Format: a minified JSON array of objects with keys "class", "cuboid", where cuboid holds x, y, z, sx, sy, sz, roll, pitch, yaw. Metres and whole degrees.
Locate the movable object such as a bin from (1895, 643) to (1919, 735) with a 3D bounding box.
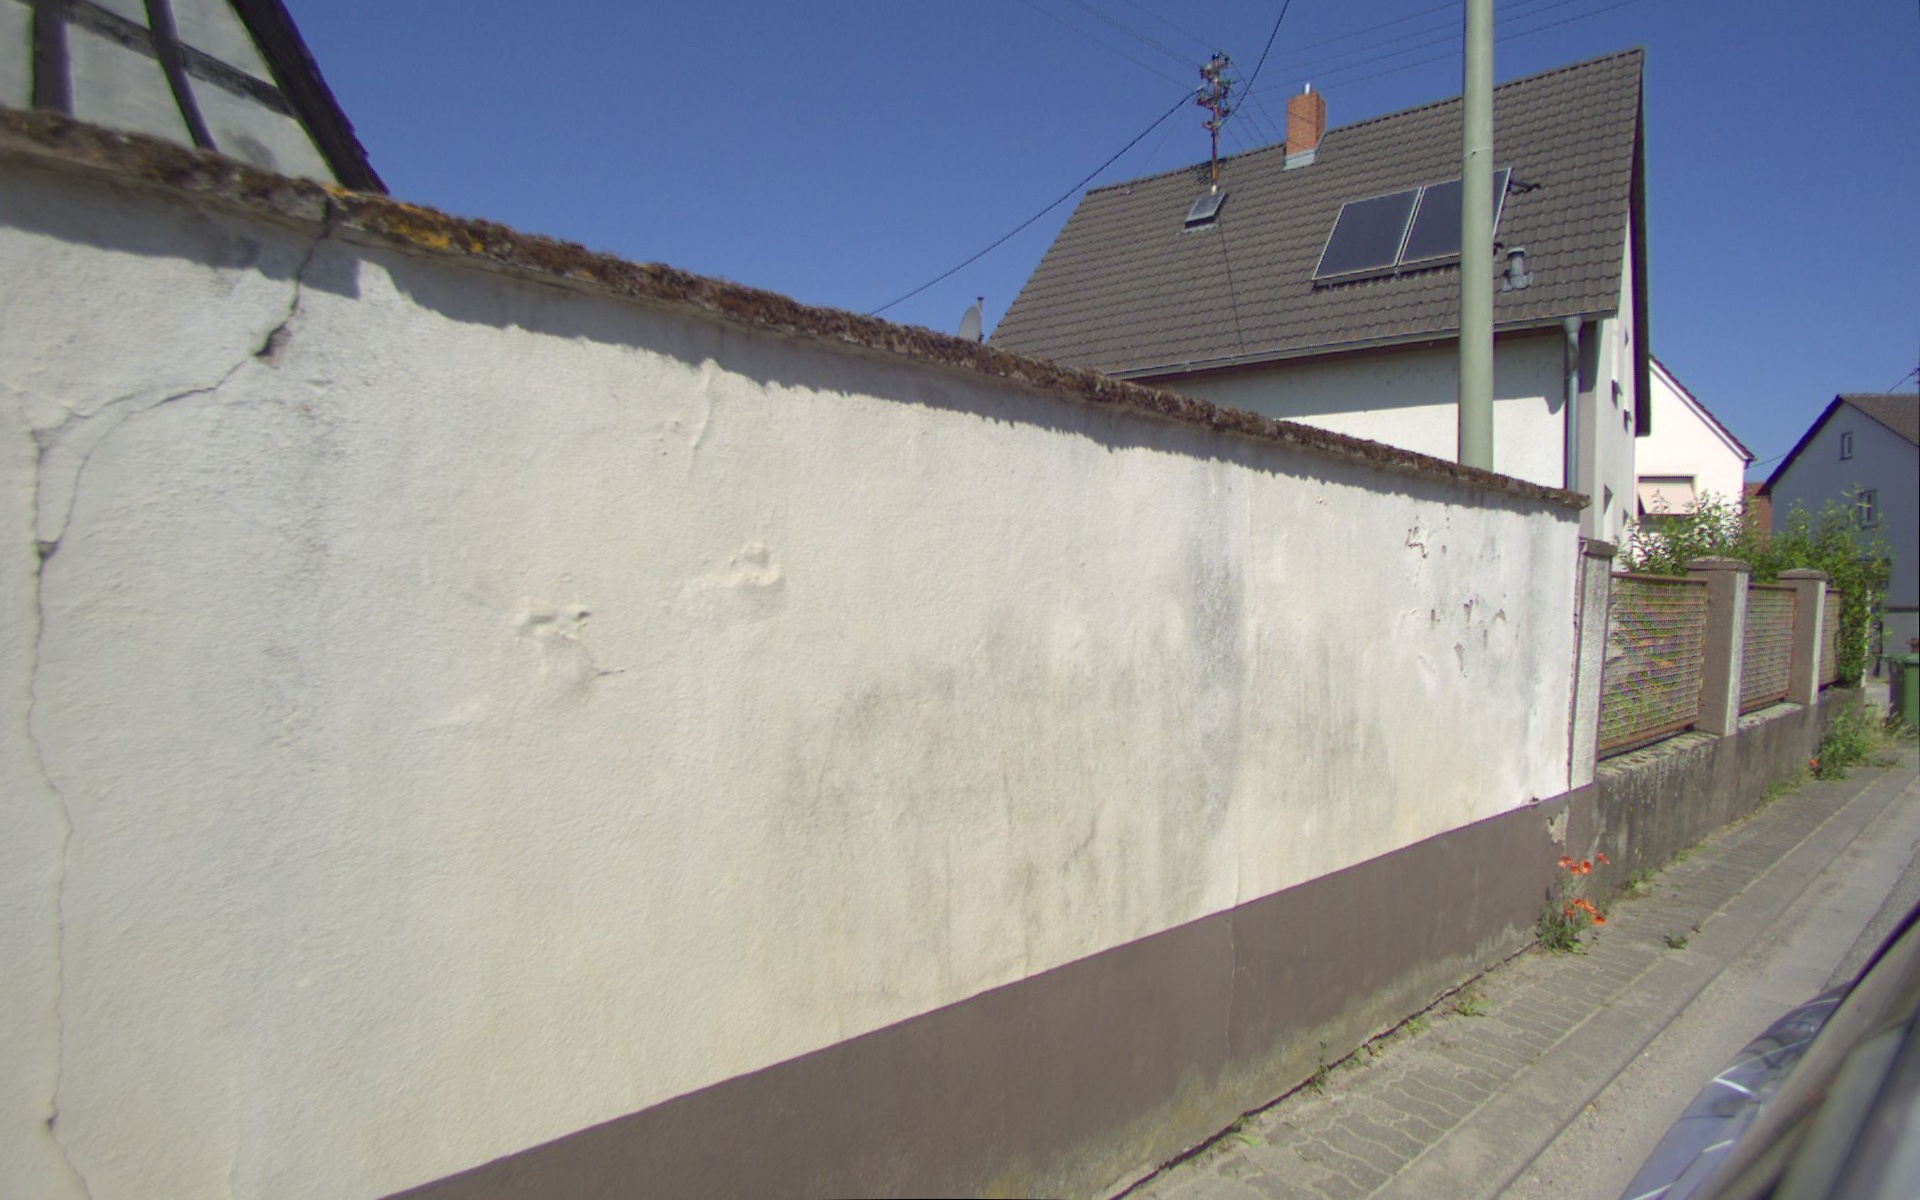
[{"class":"movable object such as a bin","cuboid":[10.868,0.992,11.267,0.546,0.989,0.429,1,0,25]}]
